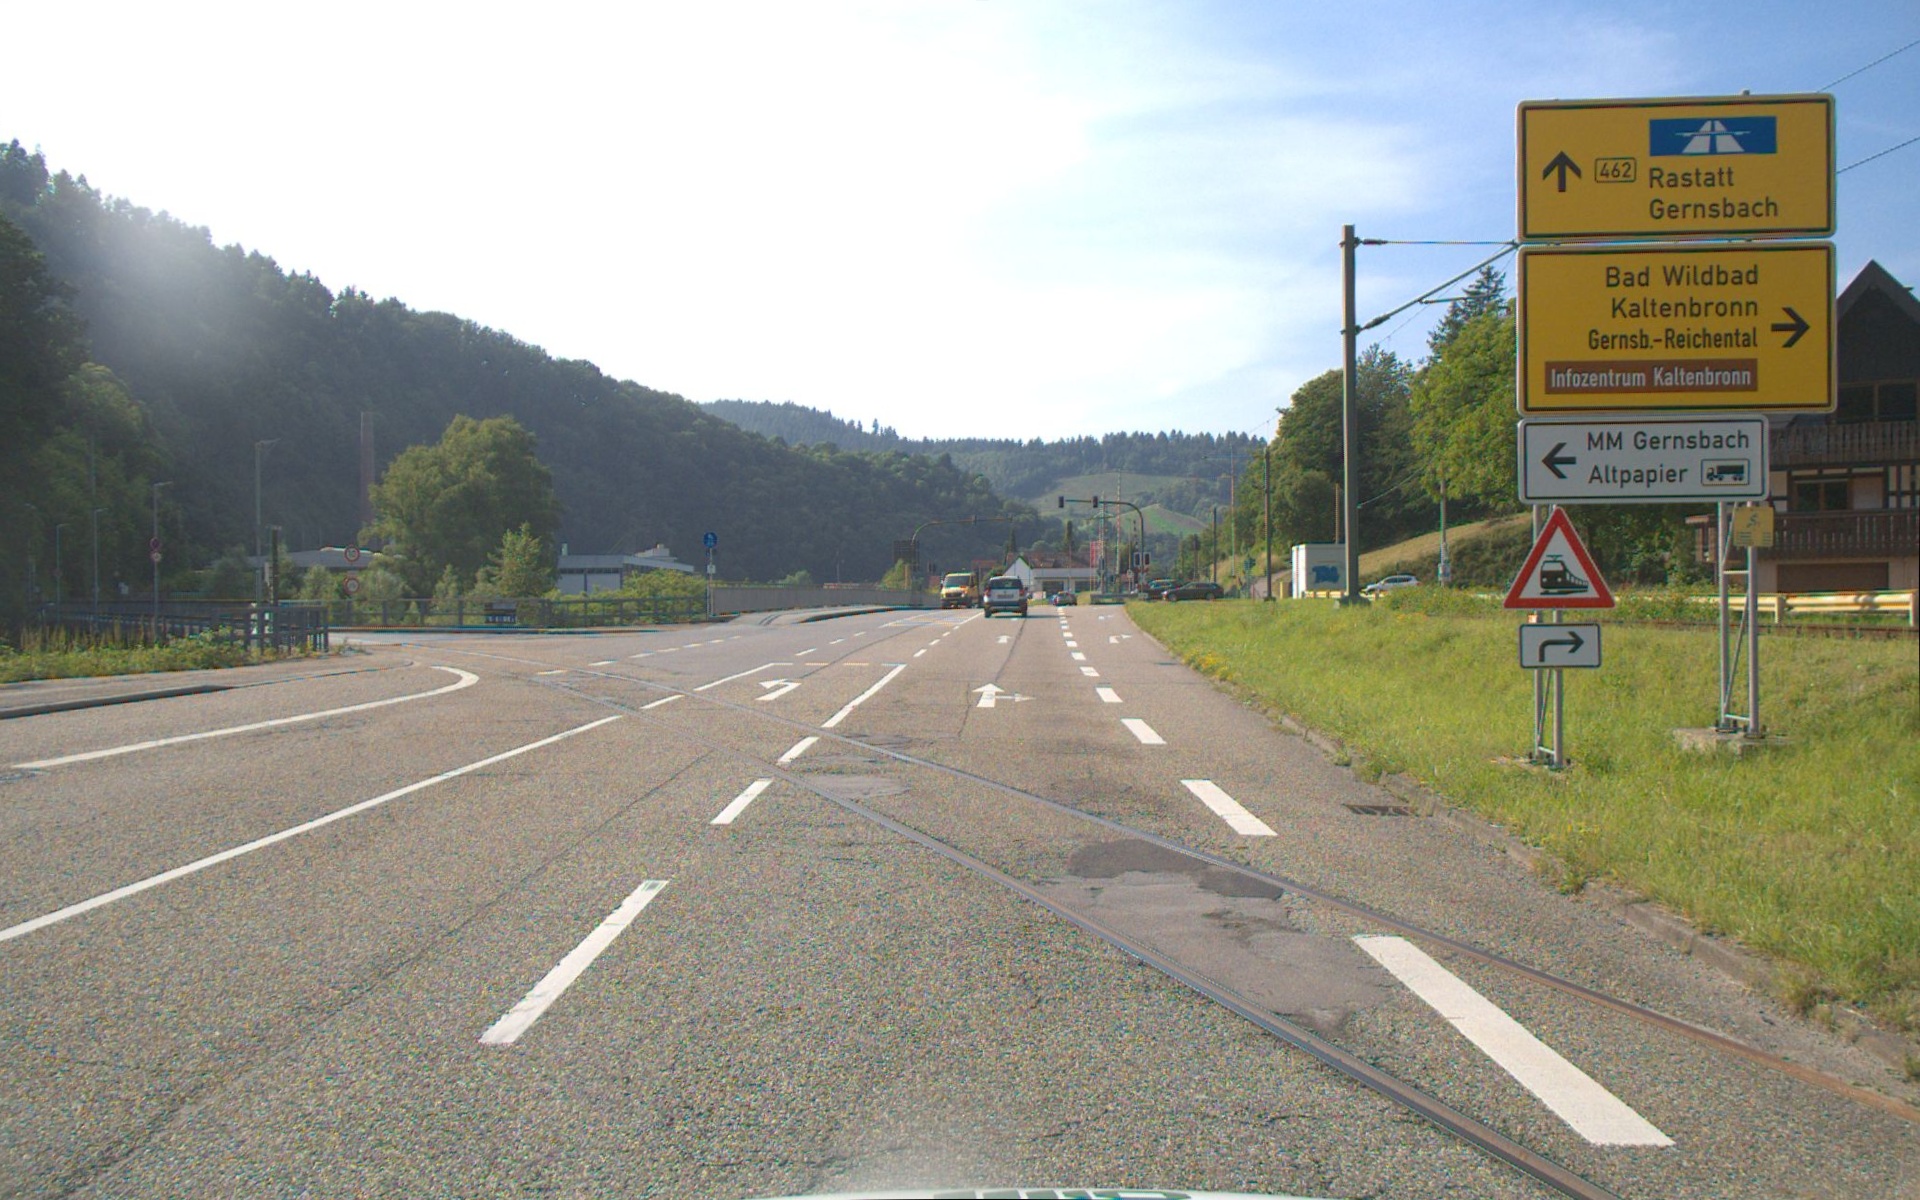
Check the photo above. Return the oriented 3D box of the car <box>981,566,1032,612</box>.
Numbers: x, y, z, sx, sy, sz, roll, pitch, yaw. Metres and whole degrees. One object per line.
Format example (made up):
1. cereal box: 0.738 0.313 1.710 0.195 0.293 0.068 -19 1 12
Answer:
1. car: 1.886 -0.473 68.350 1.953 1.753 3.990 -3 0 1

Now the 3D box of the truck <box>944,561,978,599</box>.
1. truck: 0.097 -1.362 109.755 1.952 2.384 5.700 -1 1 2

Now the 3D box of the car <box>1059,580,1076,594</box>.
1. car: 12.930 -1.580 199.152 1.952 1.646 4.002 -2 1 2

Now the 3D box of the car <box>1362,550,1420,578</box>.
1. car: 30.646 -2.539 117.669 3.903 1.914 1.879 -1 1 18

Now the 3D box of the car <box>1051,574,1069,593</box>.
1. car: 11.200 -1.898 185.417 1.952 2.048 4.002 -1 1 2

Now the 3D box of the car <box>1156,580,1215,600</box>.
1. car: 16.198 -0.700 118.685 3.903 1.378 1.879 -1 1 18

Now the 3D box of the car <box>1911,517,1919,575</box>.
1. car: 42.100 -2.340 66.762 2.356 2.371 5.962 -3 1 -34

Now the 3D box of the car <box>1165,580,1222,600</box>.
1. car: 17.112 -0.770 121.129 3.903 1.378 1.879 -1 1 18
